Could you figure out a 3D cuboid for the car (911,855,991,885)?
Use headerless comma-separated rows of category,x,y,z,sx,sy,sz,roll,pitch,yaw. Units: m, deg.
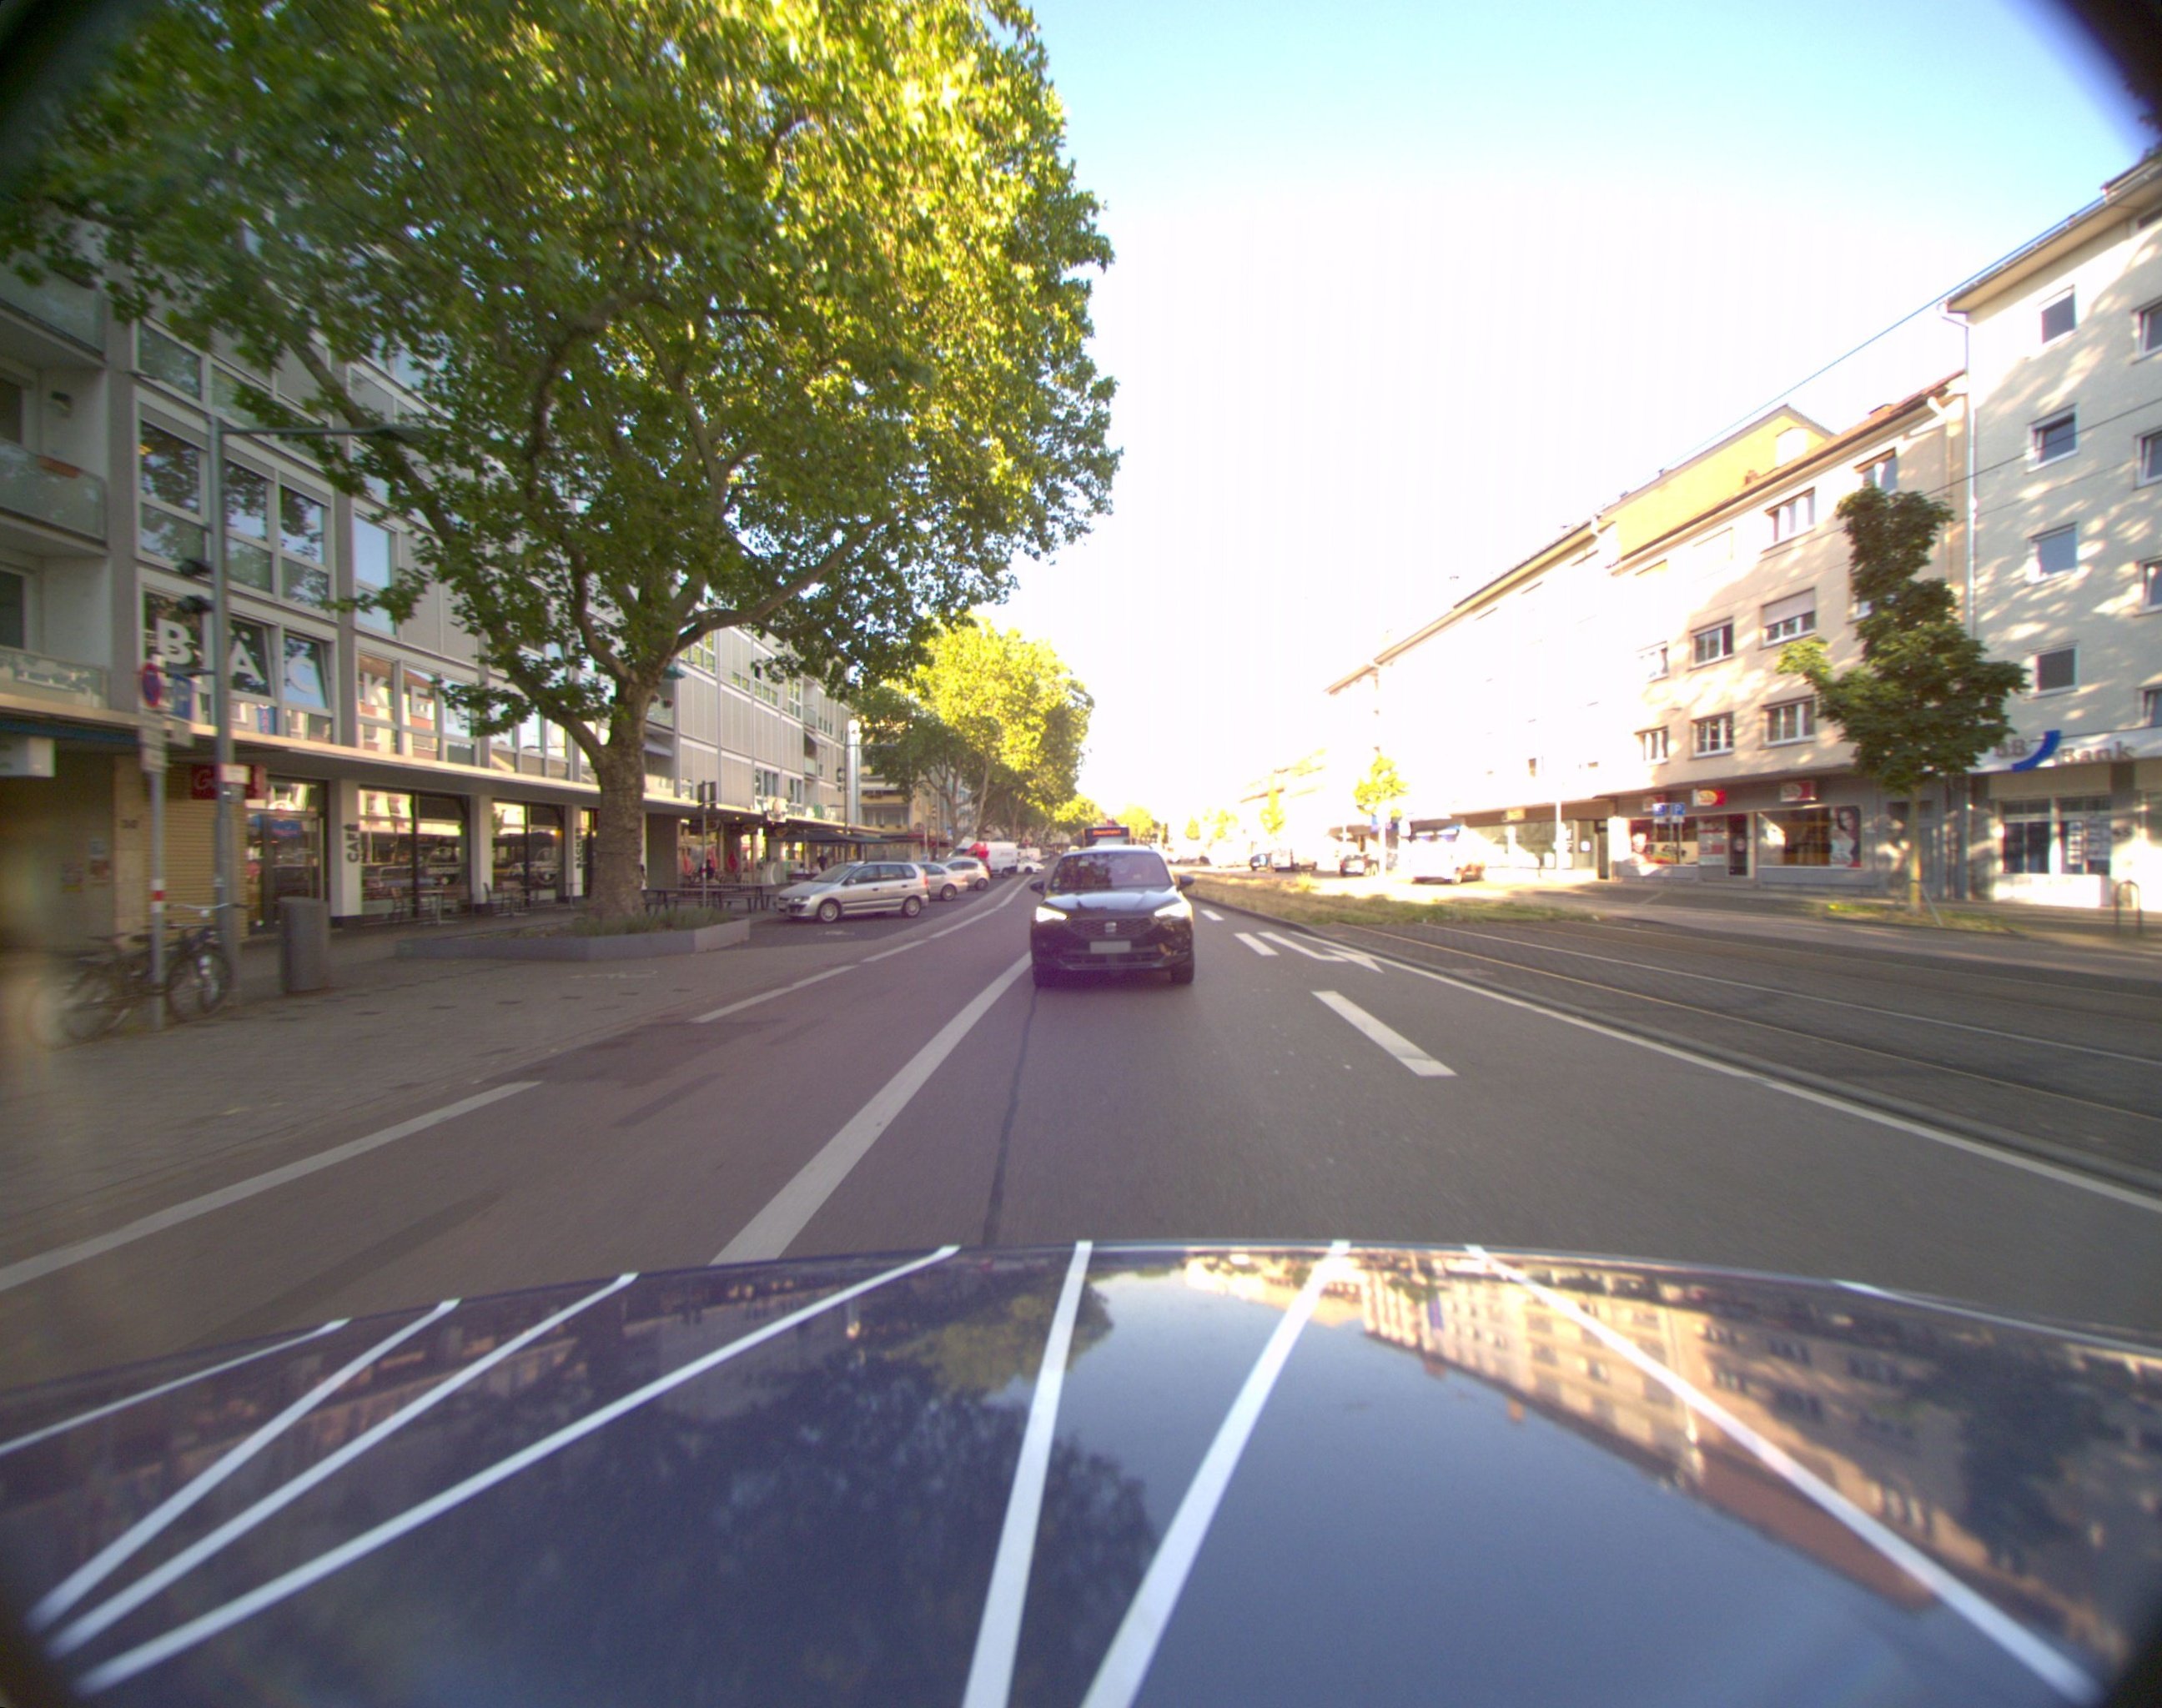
car,-7.024,0.836,41.160,4.008,1.514,1.655,0,2,-42

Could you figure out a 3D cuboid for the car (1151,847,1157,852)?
car,25.147,-1.572,261.321,1.869,1.832,3.827,-1,0,5

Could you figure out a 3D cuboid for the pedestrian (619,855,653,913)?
pedestrian,-12.400,0.834,21.199,0.538,1.582,0.687,2,1,-2

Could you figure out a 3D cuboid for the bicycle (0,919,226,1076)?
bicycle,-8.704,1.209,6.859,0.295,1.095,1.716,2,0,-11

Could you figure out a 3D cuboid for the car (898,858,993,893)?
car,-6.127,0.926,34.605,4.008,1.428,1.655,0,2,-42

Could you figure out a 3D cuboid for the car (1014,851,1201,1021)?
car,0.377,0.827,9.673,1.808,1.637,4.001,-3,0,3

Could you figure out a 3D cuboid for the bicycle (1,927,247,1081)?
bicycle,-8.401,1.252,6.784,0.295,1.034,1.716,2,0,-11

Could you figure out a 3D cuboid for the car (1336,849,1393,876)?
car,17.676,0.499,47.305,1.765,1.482,4.460,-2,1,42

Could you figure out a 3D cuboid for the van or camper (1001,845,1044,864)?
van or camper,-7.558,0.073,99.008,5.474,2.455,1.994,-1,1,-44

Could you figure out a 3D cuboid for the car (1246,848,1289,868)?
car,16.688,0.387,67.800,4.007,1.577,1.874,-3,1,-45

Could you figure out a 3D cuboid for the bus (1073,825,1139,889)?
bus,1.163,0.015,43.227,2.872,2.962,12.235,-3,1,-1

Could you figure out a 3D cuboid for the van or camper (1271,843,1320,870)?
van or camper,17.223,0.171,60.908,1.795,1.978,4.460,-2,1,44

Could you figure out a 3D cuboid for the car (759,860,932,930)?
car,-6.107,0.985,20.057,1.804,1.597,4.008,0,0,41

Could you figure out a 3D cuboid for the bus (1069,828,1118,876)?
bus,0.722,-0.248,55.484,2.872,2.962,12.235,-3,1,-1

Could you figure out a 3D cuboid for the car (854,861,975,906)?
car,-5.950,0.992,27.444,4.008,1.428,1.655,0,2,-45

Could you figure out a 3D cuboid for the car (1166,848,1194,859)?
car,15.200,-0.044,116.462,3.920,1.482,1.766,-3,1,-24

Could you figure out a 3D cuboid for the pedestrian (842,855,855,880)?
pedestrian,-14.885,0.836,48.661,0.540,1.582,0.685,1,1,-41

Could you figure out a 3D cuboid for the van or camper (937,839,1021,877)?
van or camper,-6.887,0.247,51.764,5.474,2.455,1.994,-1,1,-42

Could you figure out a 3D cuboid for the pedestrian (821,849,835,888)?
pedestrian,-13.550,0.774,40.679,0.552,2.002,0.577,-3,1,-16

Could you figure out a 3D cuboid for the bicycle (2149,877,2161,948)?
bicycle,18.045,0.904,11.946,1.899,1.118,0.534,-2,1,-4

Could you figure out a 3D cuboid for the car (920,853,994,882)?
car,-7.191,0.769,44.367,4.008,1.555,1.655,0,2,-42

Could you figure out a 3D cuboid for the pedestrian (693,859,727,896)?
pedestrian,-13.940,0.866,28.587,0.750,1.354,0.962,-1,1,3

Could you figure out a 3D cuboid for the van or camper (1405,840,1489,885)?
van or camper,17.389,0.388,35.973,4.824,1.887,1.946,-3,1,-44

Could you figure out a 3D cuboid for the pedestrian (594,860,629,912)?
pedestrian,-13.074,0.879,21.176,0.538,1.392,0.687,2,1,-2

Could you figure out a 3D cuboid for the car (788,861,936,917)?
car,-6.583,1.002,23.178,1.804,1.498,4.008,0,0,41

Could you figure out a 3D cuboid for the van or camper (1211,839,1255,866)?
van or camper,16.445,-0.232,81.736,1.995,2.652,6.410,-2,1,36

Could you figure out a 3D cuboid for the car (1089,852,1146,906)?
car,1.161,0.720,24.359,1.658,1.571,4.000,-1,0,2
